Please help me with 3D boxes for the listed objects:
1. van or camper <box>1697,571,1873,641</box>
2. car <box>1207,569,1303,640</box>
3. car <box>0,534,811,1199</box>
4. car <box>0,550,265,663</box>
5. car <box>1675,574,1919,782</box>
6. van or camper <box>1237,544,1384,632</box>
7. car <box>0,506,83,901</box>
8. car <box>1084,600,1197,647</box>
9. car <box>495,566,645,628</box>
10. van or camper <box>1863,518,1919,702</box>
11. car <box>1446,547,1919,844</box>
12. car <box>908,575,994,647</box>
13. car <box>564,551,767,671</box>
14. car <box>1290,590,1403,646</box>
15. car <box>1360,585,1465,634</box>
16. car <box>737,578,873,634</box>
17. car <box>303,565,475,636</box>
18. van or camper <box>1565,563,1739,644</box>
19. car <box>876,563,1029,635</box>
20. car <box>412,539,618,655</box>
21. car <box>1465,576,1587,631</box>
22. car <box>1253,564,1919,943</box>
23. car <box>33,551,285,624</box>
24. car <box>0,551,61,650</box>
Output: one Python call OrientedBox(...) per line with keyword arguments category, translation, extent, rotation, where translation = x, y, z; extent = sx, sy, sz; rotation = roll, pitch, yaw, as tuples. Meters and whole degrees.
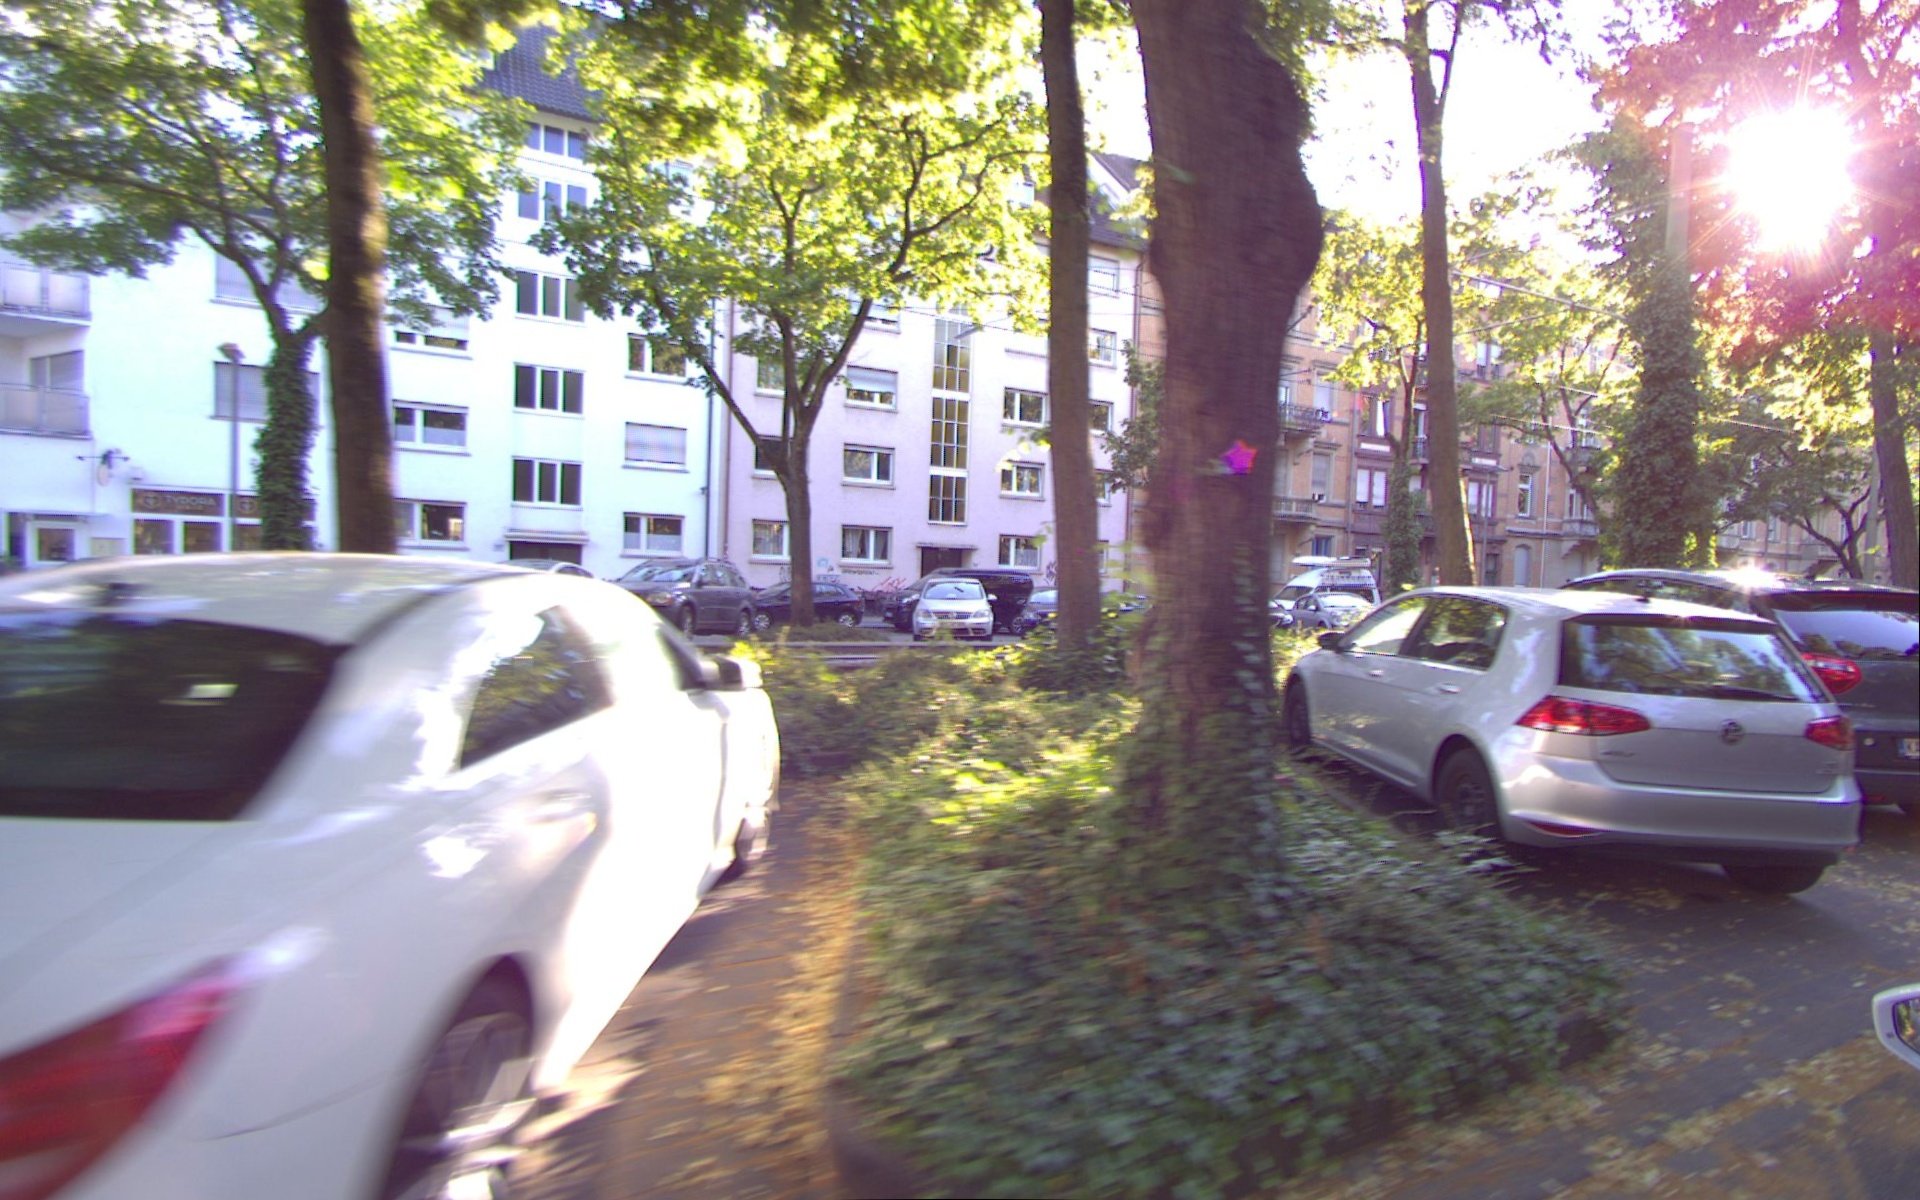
OrientedBox(category="van or camper", translation=(31.233, 0.202, 38.330), extent=(2.261, 2.402, 5.553), rotation=(1, 0, 2))
OrientedBox(category="car", translation=(7.665, 0.112, 26.430), extent=(1.703, 1.669, 4.002), rotation=(1, 0, 6))
OrientedBox(category="car", translation=(-1.744, 0.543, 3.157), extent=(1.820, 1.423, 4.465), rotation=(2, 4, 0))
OrientedBox(category="car", translation=(-12.825, 0.034, 15.214), extent=(1.817, 1.464, 3.882), rotation=(2, 1, 2))
OrientedBox(category="car", translation=(8.482, 0.642, 8.910), extent=(1.789, 1.514, 3.551), rotation=(3, 4, 4))
OrientedBox(category="van or camper", translation=(13.527, -0.415, 38.662), extent=(5.443, 3.151, 2.066), rotation=(1, 2, -27))
OrientedBox(category="car", translation=(-4.222, 0.465, 1.756), extent=(1.710, 1.423, 4.311), rotation=(2, 4, -3))
OrientedBox(category="car", translation=(6.322, 0.791, 35.149), extent=(3.463, 1.423, 1.843), rotation=(0, 4, -27))
OrientedBox(category="car", translation=(-10.102, -0.077, 25.973), extent=(3.463, 1.423, 1.843), rotation=(0, 4, -27))
OrientedBox(category="van or camper", translation=(14.015, 0.283, 11.948), extent=(2.004, 2.504, 4.886), rotation=(3, 3, 2))
OrientedBox(category="car", translation=(5.889, 0.503, 7.997), extent=(1.821, 1.685, 4.038), rotation=(3, 4, -3))
OrientedBox(category="car", translation=(-0.194, 0.191, 22.841), extent=(1.737, 1.446, 3.999), rotation=(2, 1, 0))
OrientedBox(category="car", translation=(-5.573, 0.187, 19.789), extent=(1.959, 2.040, 4.822), rotation=(1, 0, 9))
OrientedBox(category="car", translation=(10.522, 0.455, 27.637), extent=(1.767, 1.400, 4.001), rotation=(1, 0, 4))
OrientedBox(category="car", translation=(18.562, 0.382, 41.181), extent=(3.866, 1.807, 1.843), rotation=(0, 4, -27))
OrientedBox(category="car", translation=(-4.470, 0.152, 28.868), extent=(3.463, 1.423, 1.843), rotation=(0, 4, -27))
OrientedBox(category="car", translation=(-13.552, -0.013, 24.084), extent=(3.463, 1.512, 1.843), rotation=(0, 4, -27))
OrientedBox(category="van or camper", translation=(23.410, 0.117, 34.331), extent=(1.961, 2.501, 5.677), rotation=(1, 0, -1))
OrientedBox(category="car", translation=(-0.225, -0.041, 31.162), extent=(4.360, 2.021, 1.843), rotation=(0, 4, -27))
OrientedBox(category="car", translation=(-7.909, -0.050, 18.355), extent=(1.778, 1.842, 4.320), rotation=(1, 0, 0))
OrientedBox(category="car", translation=(17.822, 0.101, 31.853), extent=(1.868, 1.603, 4.327), rotation=(1, 0, 8))
OrientedBox(category="car", translation=(3.456, 0.602, 6.494), extent=(1.820, 1.460, 4.243), rotation=(3, 4, 0))
OrientedBox(category="car", translation=(-17.251, -0.279, 21.913), extent=(3.977, 1.423, 1.843), rotation=(0, 4, -27))
OrientedBox(category="car", translation=(-15.129, -0.006, 13.894), extent=(1.817, 1.464, 3.882), rotation=(2, 1, 2))
